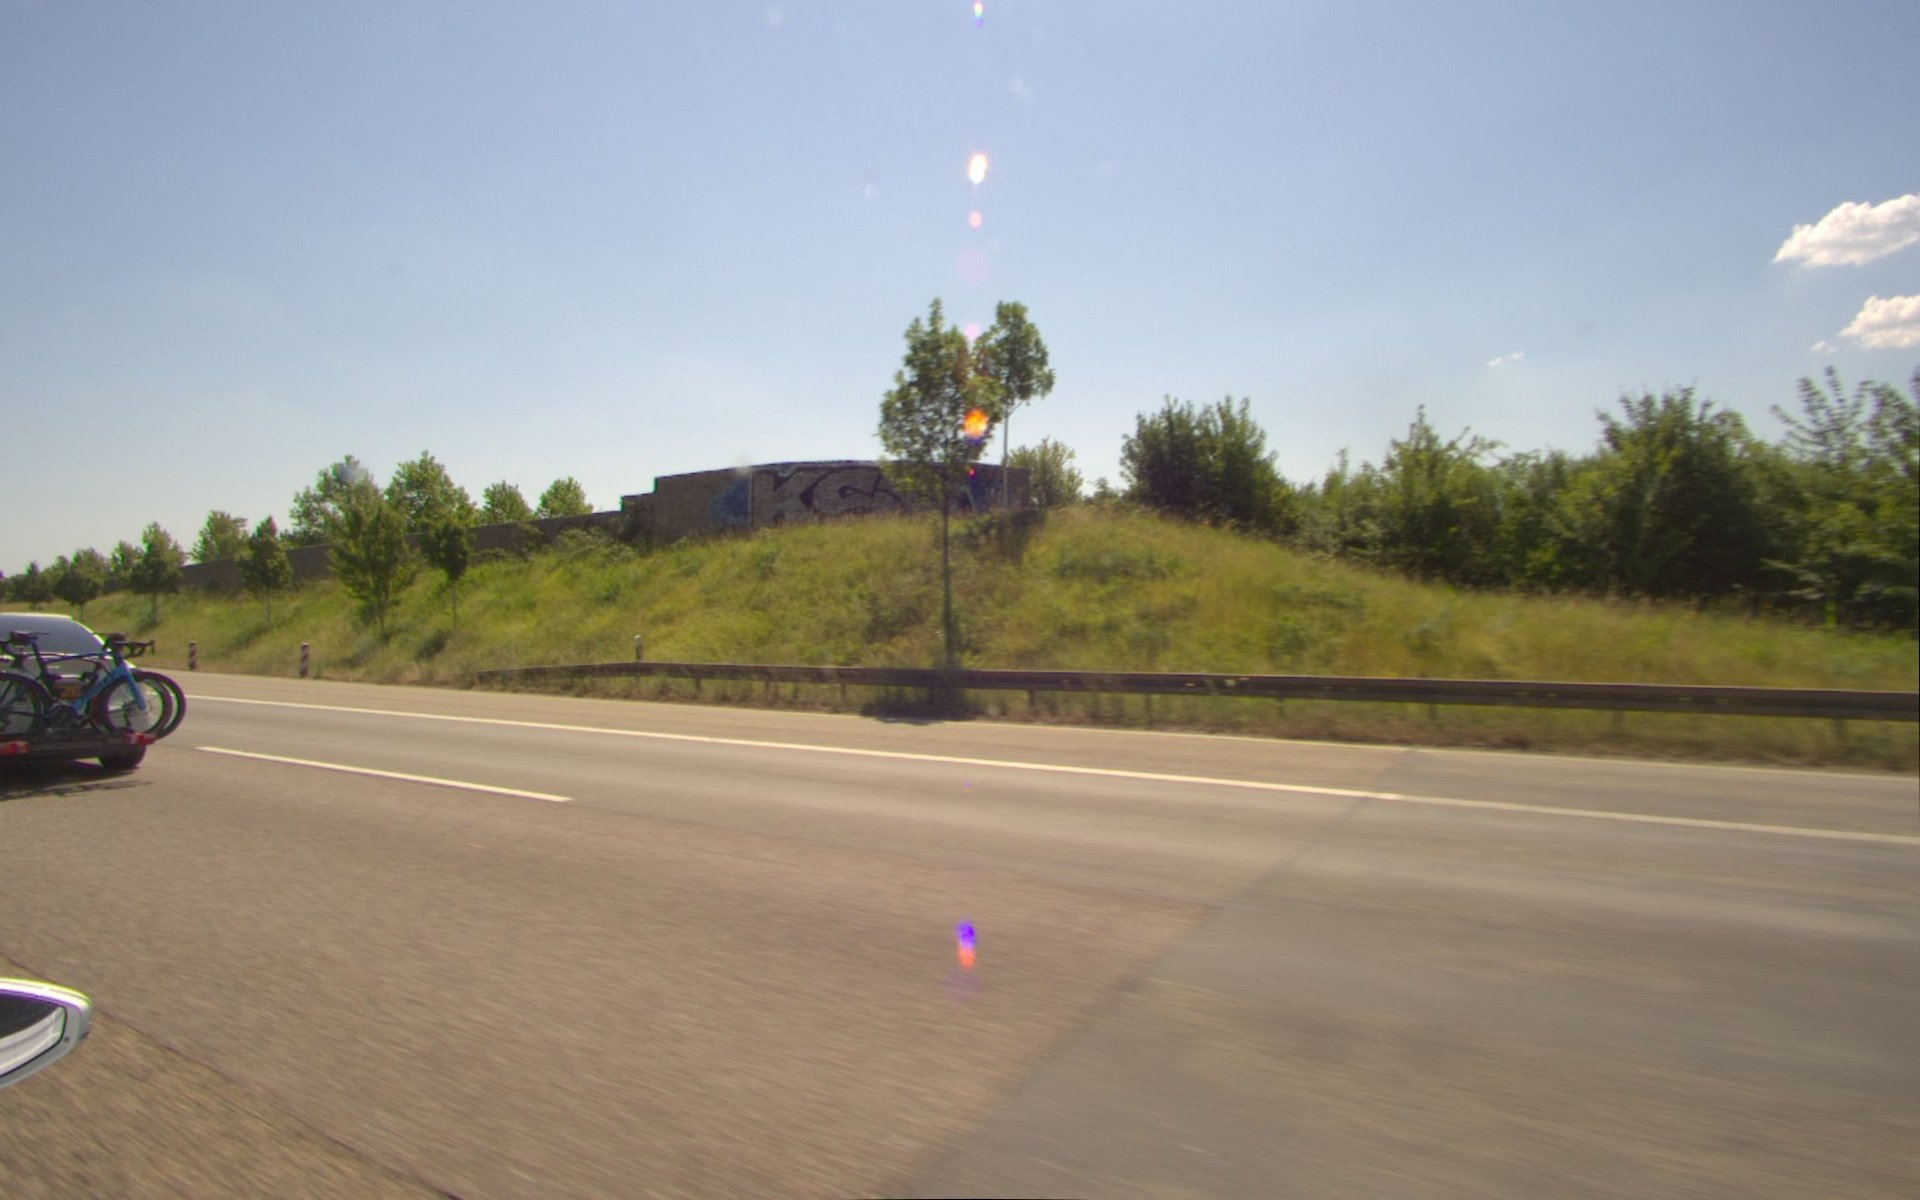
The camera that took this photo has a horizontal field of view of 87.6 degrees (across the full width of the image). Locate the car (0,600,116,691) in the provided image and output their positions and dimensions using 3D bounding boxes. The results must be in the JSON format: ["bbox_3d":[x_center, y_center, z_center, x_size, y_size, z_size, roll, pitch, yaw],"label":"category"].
[{"bbox_3d":[-20.925,0.946,22.337,4.116,1.862,1.947,0,0,30],"label":"car"}]

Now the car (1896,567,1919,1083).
[{"bbox_3d":[4.644,0.681,1.440,4.520,1.657,1.865,0,-2,33],"label":"car"}]

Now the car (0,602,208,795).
[{"bbox_3d":[-10.299,0.891,10.585,5.520,1.657,1.947,-1,-2,33],"label":"car"}]
